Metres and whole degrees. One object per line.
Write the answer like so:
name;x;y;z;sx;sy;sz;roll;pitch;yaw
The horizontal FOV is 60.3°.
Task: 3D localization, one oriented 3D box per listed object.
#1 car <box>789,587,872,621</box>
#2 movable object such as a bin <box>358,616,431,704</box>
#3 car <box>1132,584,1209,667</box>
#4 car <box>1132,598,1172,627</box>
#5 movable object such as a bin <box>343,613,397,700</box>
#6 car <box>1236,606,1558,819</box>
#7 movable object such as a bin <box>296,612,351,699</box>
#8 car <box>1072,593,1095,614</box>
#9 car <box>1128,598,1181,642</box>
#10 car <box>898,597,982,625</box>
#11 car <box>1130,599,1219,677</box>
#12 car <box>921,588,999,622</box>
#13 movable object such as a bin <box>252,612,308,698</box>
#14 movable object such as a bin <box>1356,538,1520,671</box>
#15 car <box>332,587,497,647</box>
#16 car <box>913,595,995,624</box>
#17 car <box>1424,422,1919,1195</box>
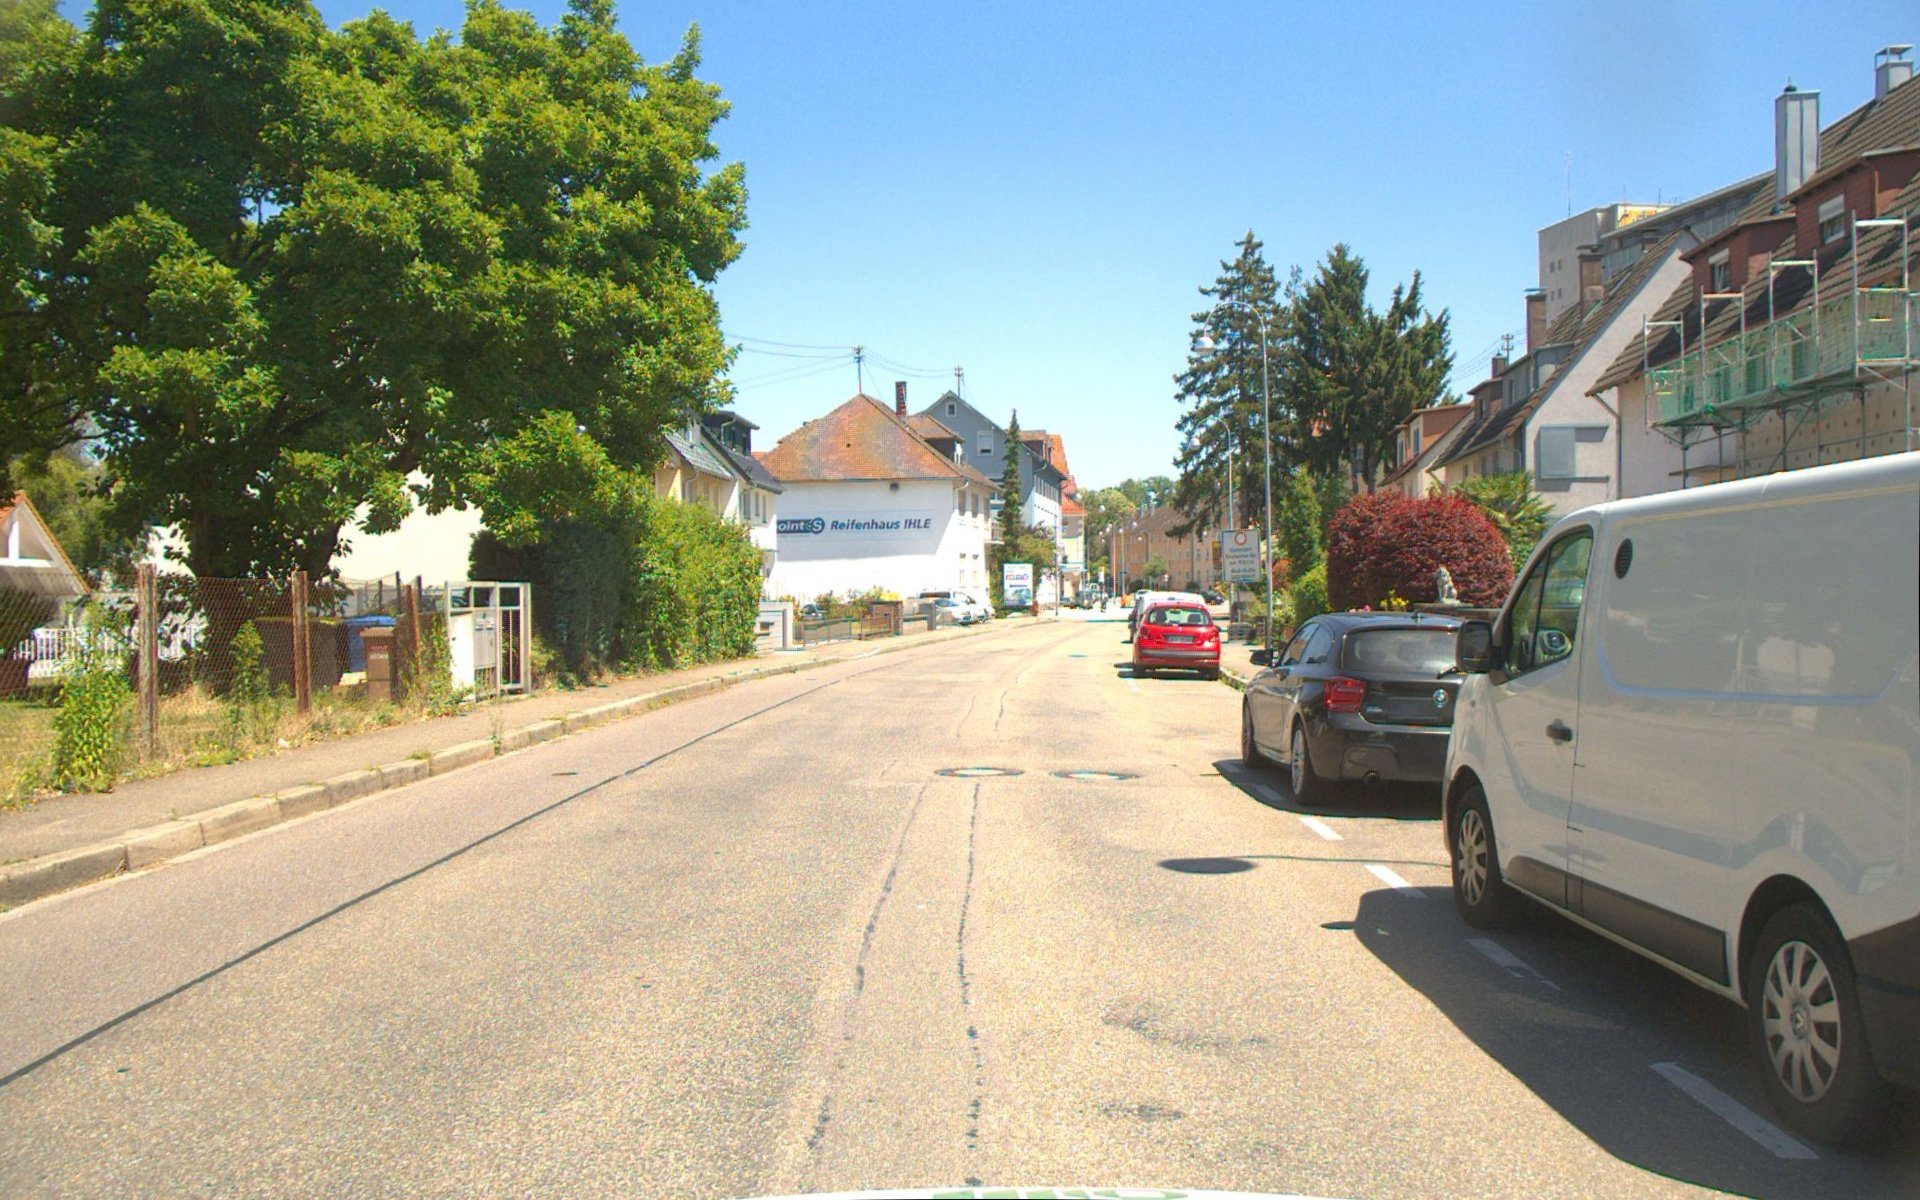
car;-6.135;0.183;78.001;3.932;1.536;1.788;1;1;44
movable object such as a bin;-6.598;0.696;19.323;0.693;1.014;0.474;0;0;-2
car;4.898;0.591;38.843;1.628;1.785;4.002;2;-1;6
car;10.602;0.682;91.136;1.756;1.537;4.003;1;0;13
movable object such as a bin;-7.137;0.674;20.008;0.457;1.027;0.506;0;0;0
car;3.334;0.780;13.362;1.622;1.422;4.001;0;0;1
movable object such as a bin;-7.695;0.667;20.015;0.457;1.027;0.506;0;0;0
car;10.312;0.269;138.022;1.720;1.685;4.003;0;0;7
car;6.886;0.673;58.217;1.740;1.430;4.290;1;0;8
car;-1.018;0.551;83.280;4.068;1.367;1.900;0;1;42
car;4.336;0.724;33.824;1.628;1.480;4.002;0;0;5
car;0.020;0.258;88.488;4.042;1.805;1.829;0;0;4
movable object such as a bin;-8.235;0.659;20.041;0.457;1.027;0.506;0;0;0
movable object such as a bin;10.312;0.095;35.842;3.079;2.795;1.708;0;0;3
car;-14.830;0.452;45.141;3.908;1.537;1.799;1;0;-4
car;-0.283;0.488;86.153;4.041;1.419;1.830;0;0;7
car;3.347;0.520;6.199;1.864;1.958;4.718;0;0;-1
